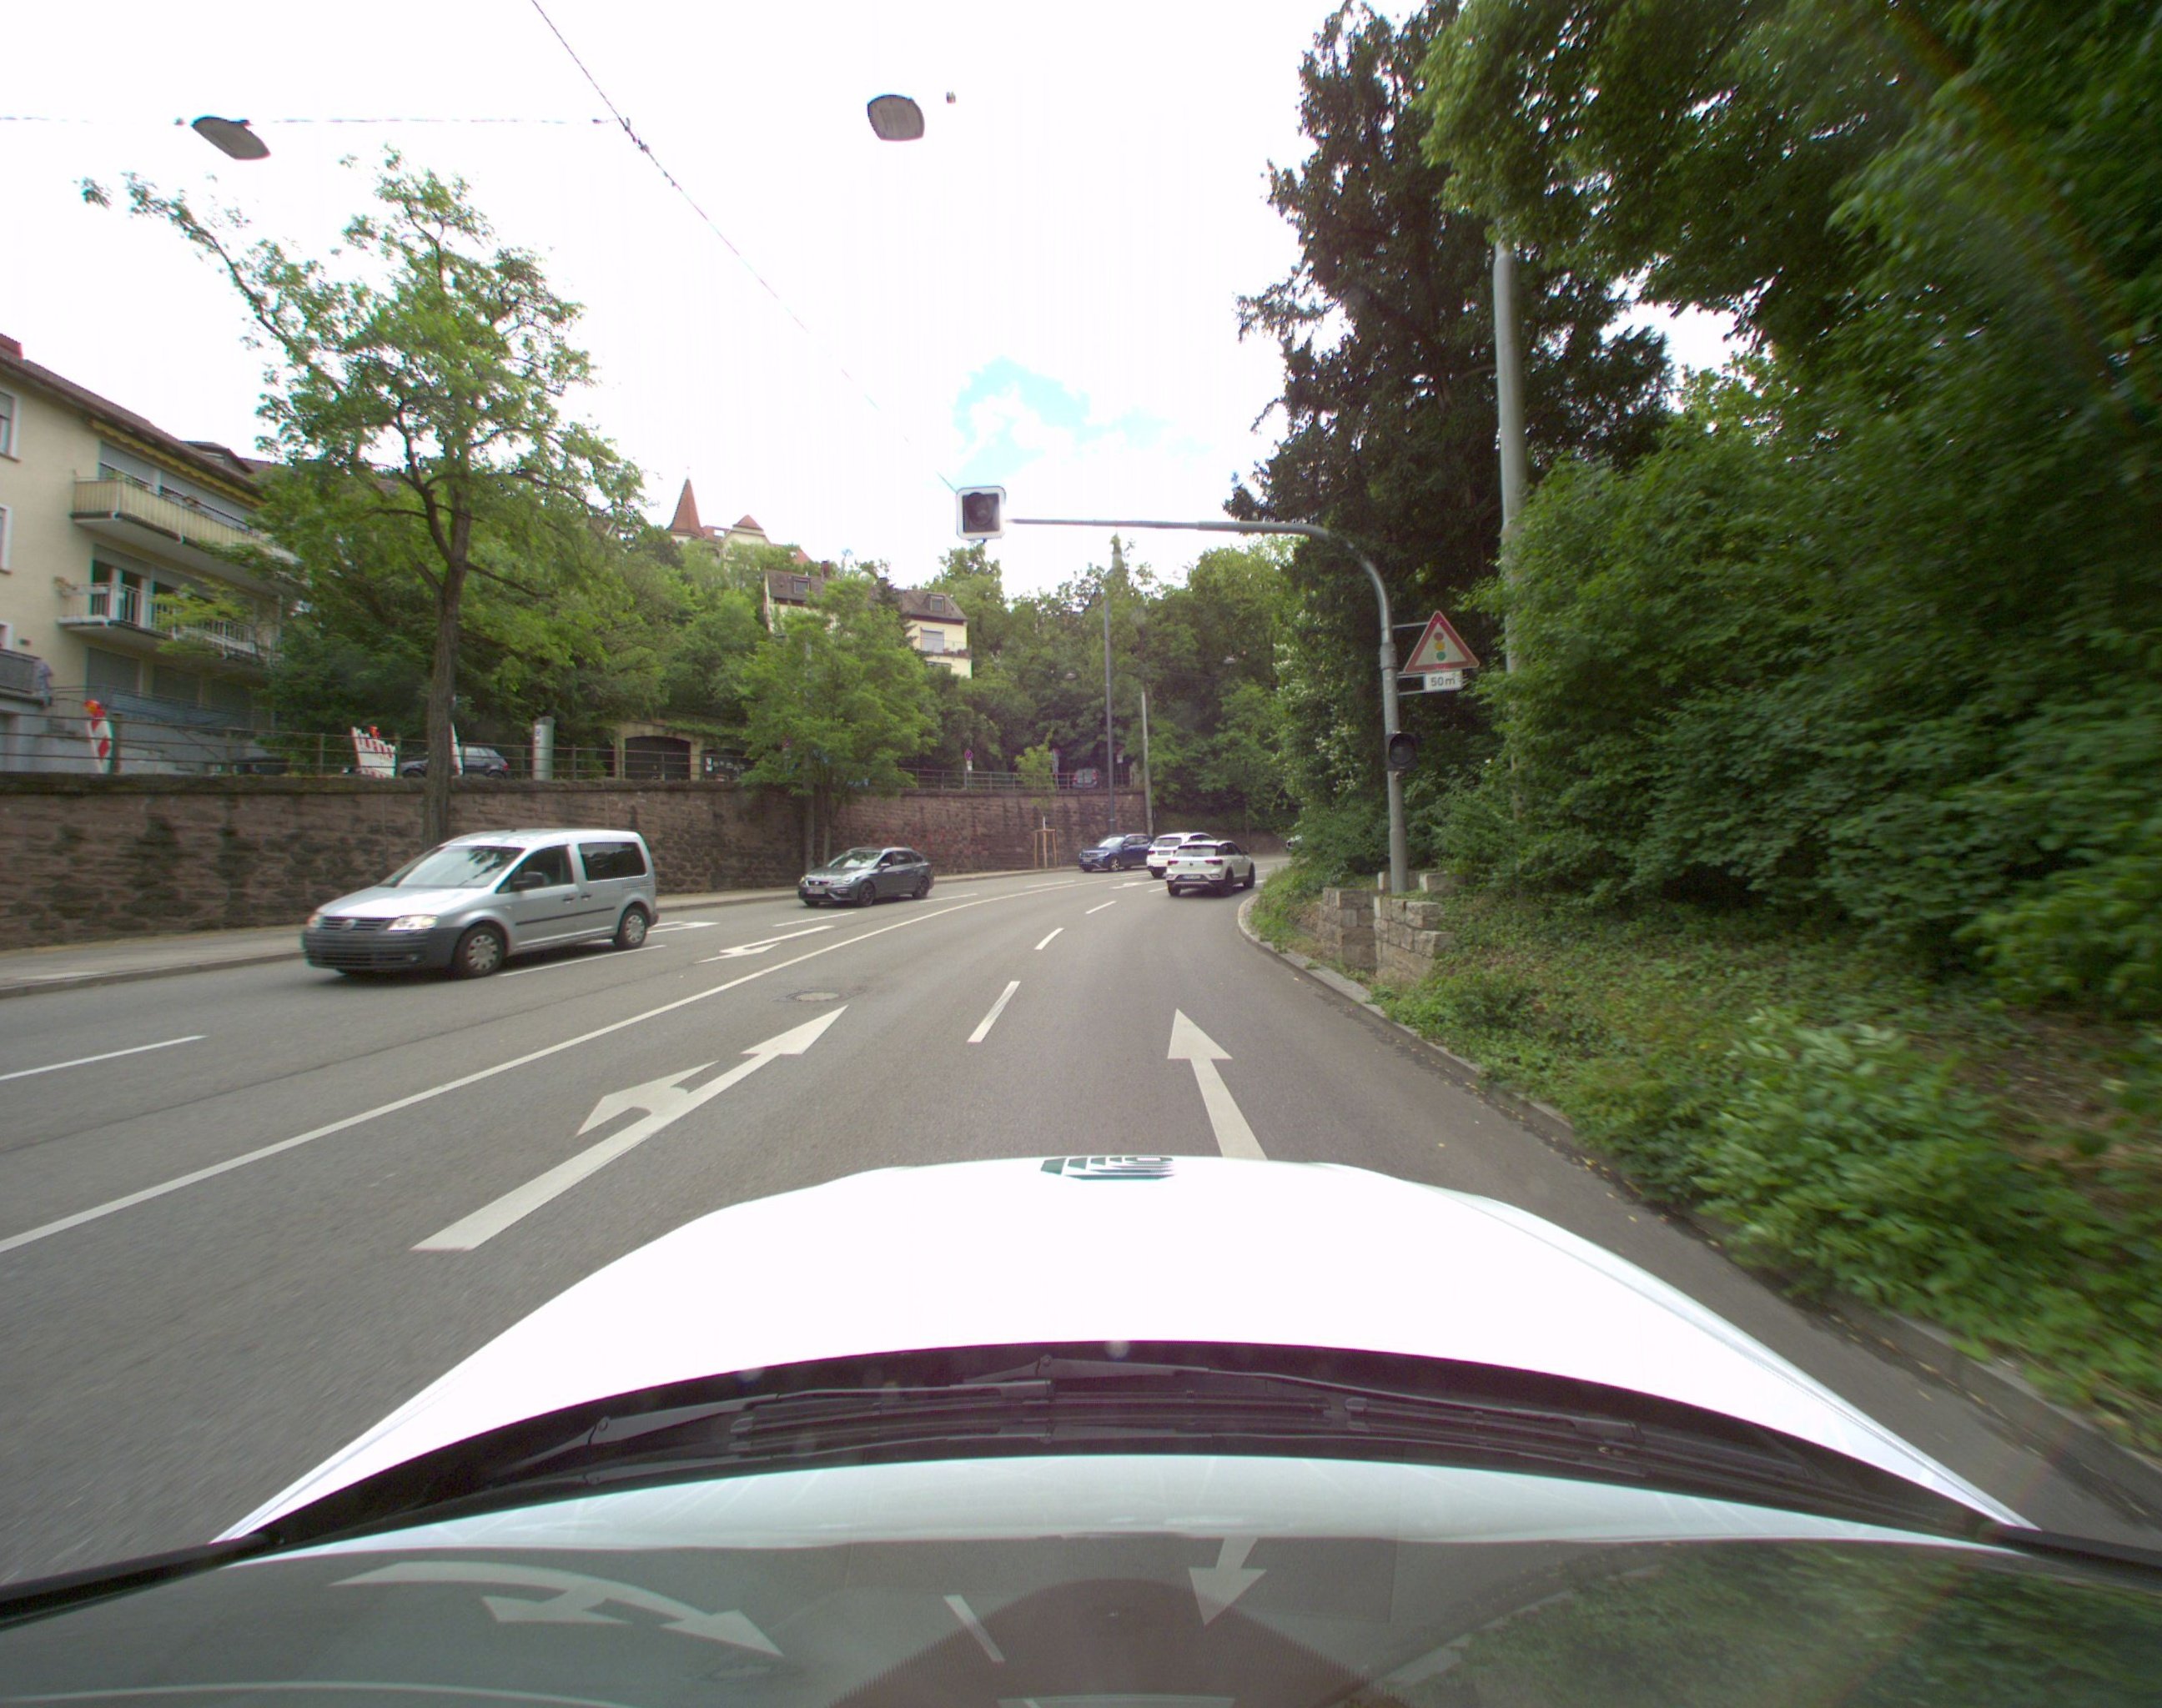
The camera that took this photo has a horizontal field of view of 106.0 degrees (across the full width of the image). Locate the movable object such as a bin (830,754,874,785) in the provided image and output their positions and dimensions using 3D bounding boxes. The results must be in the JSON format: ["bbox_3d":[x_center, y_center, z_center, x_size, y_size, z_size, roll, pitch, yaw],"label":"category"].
[{"bbox_3d":[-11.489,-4.223,40.912,1.236,1.356,1.615,-3,1,39],"label":"movable object such as a bin"}]

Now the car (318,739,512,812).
[{"bbox_3d":[-19.023,-2.181,23.537,1.756,1.640,4.080,-1,-1,14],"label":"car"}]

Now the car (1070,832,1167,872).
[{"bbox_3d":[1.704,-0.127,35.733,4.224,1.527,1.711,-3,3,-41],"label":"car"}]

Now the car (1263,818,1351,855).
[{"bbox_3d":[12.226,-0.985,43.924,4.685,1.763,1.810,-4,3,-31],"label":"car"}]

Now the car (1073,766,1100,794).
[{"bbox_3d":[0.366,-4.769,52.864,1.671,1.379,3.736,-1,-1,1],"label":"car"}]

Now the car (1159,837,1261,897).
[{"bbox_3d":[3.960,0.322,24.382,1.738,1.552,4.364,0,2,27],"label":"car"}]

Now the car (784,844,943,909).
[{"bbox_3d":[-5.616,0.496,21.634,1.768,1.466,4.427,0,2,22],"label":"car"}]

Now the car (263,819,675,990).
[{"bbox_3d":[-7.813,0.526,11.101,1.846,1.814,4.459,1,0,7],"label":"car"}]

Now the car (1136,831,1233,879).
[{"bbox_3d":[4.100,-0.041,31.539,1.841,1.605,4.701,1,3,33],"label":"car"}]
